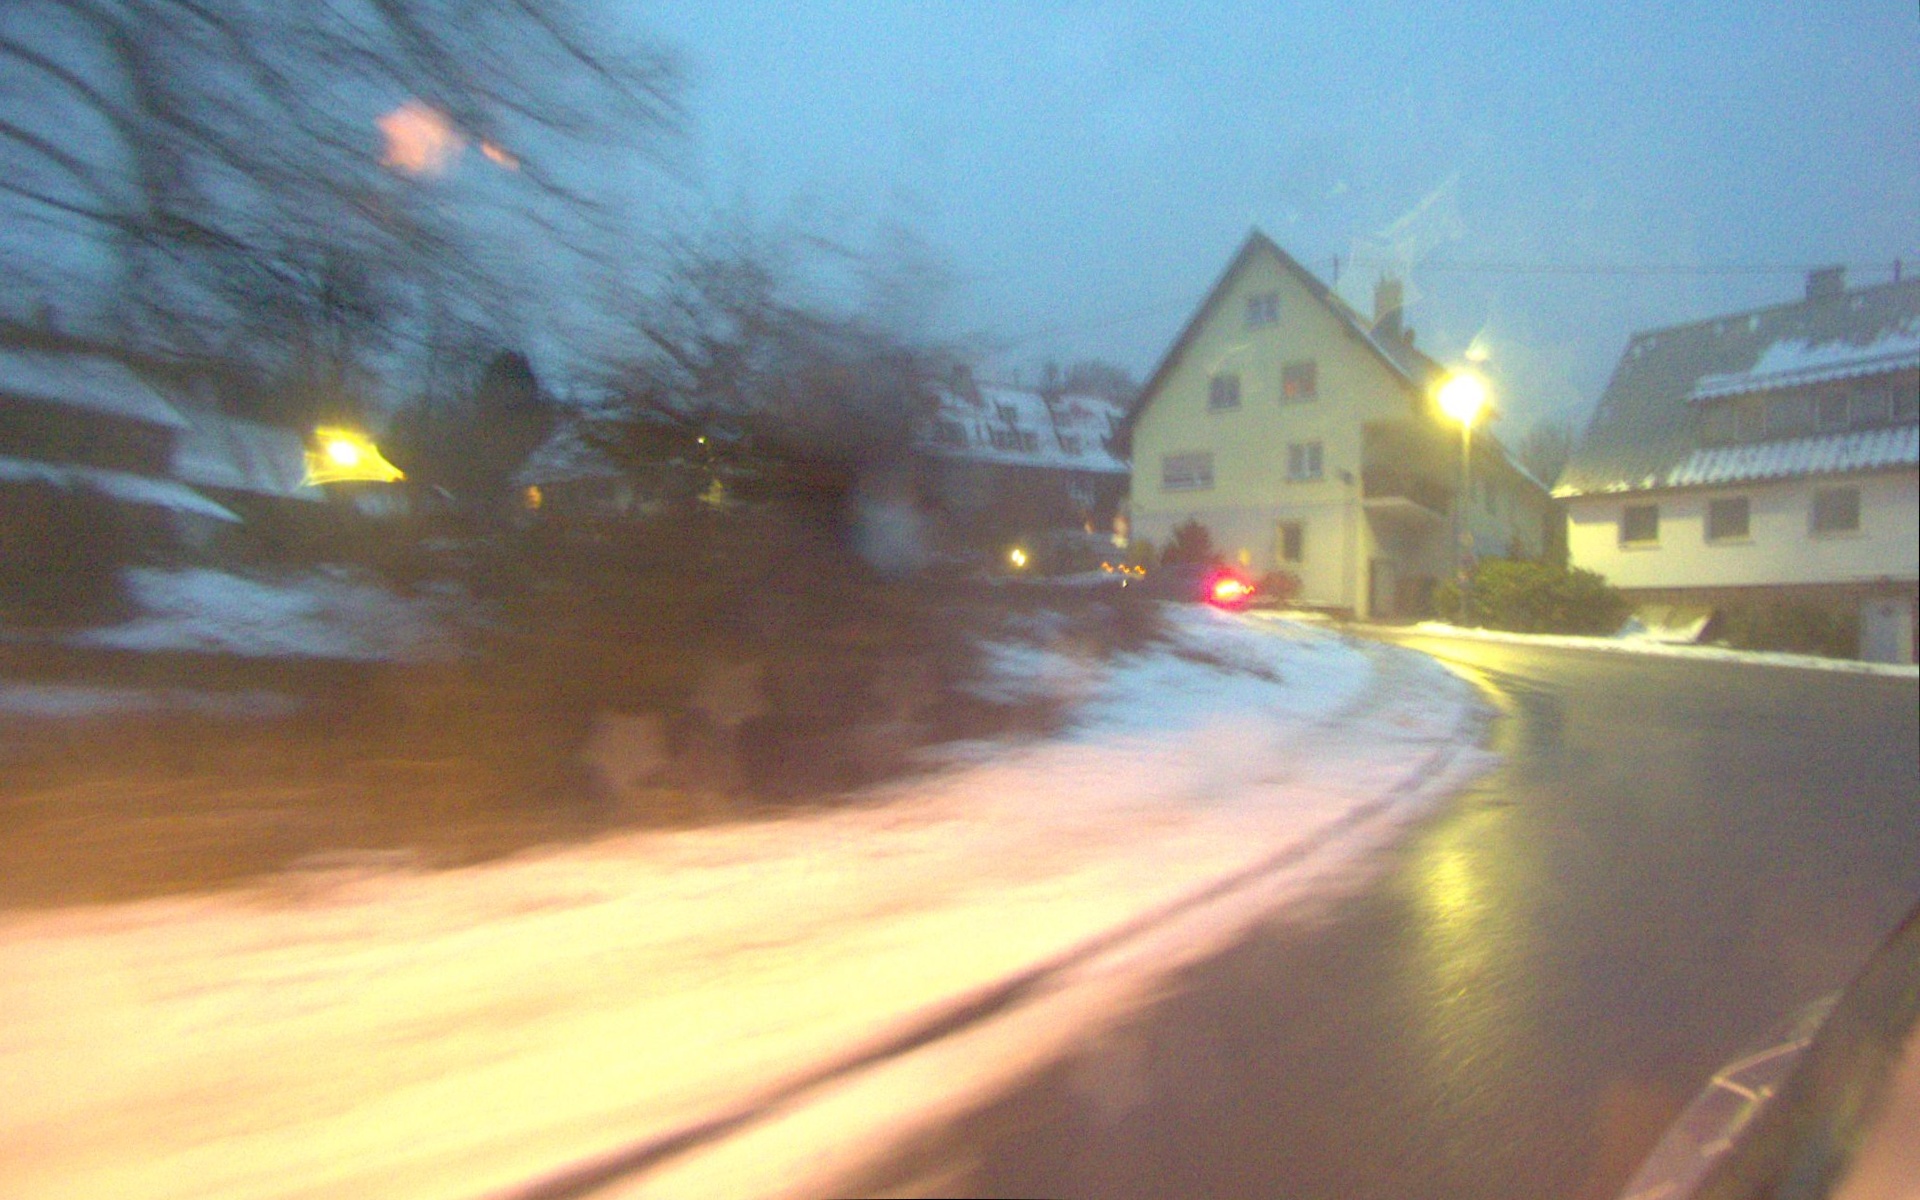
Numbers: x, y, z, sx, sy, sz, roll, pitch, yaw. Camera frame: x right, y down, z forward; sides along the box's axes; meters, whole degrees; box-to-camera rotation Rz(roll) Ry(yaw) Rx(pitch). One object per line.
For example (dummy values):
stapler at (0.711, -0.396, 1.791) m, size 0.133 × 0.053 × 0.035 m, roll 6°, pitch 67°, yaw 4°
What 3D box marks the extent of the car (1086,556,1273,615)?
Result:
car at (6.139, -0.441, 28.803) m, size 1.966 × 1.398 × 4.925 m, roll 2°, pitch 2°, yaw -43°
